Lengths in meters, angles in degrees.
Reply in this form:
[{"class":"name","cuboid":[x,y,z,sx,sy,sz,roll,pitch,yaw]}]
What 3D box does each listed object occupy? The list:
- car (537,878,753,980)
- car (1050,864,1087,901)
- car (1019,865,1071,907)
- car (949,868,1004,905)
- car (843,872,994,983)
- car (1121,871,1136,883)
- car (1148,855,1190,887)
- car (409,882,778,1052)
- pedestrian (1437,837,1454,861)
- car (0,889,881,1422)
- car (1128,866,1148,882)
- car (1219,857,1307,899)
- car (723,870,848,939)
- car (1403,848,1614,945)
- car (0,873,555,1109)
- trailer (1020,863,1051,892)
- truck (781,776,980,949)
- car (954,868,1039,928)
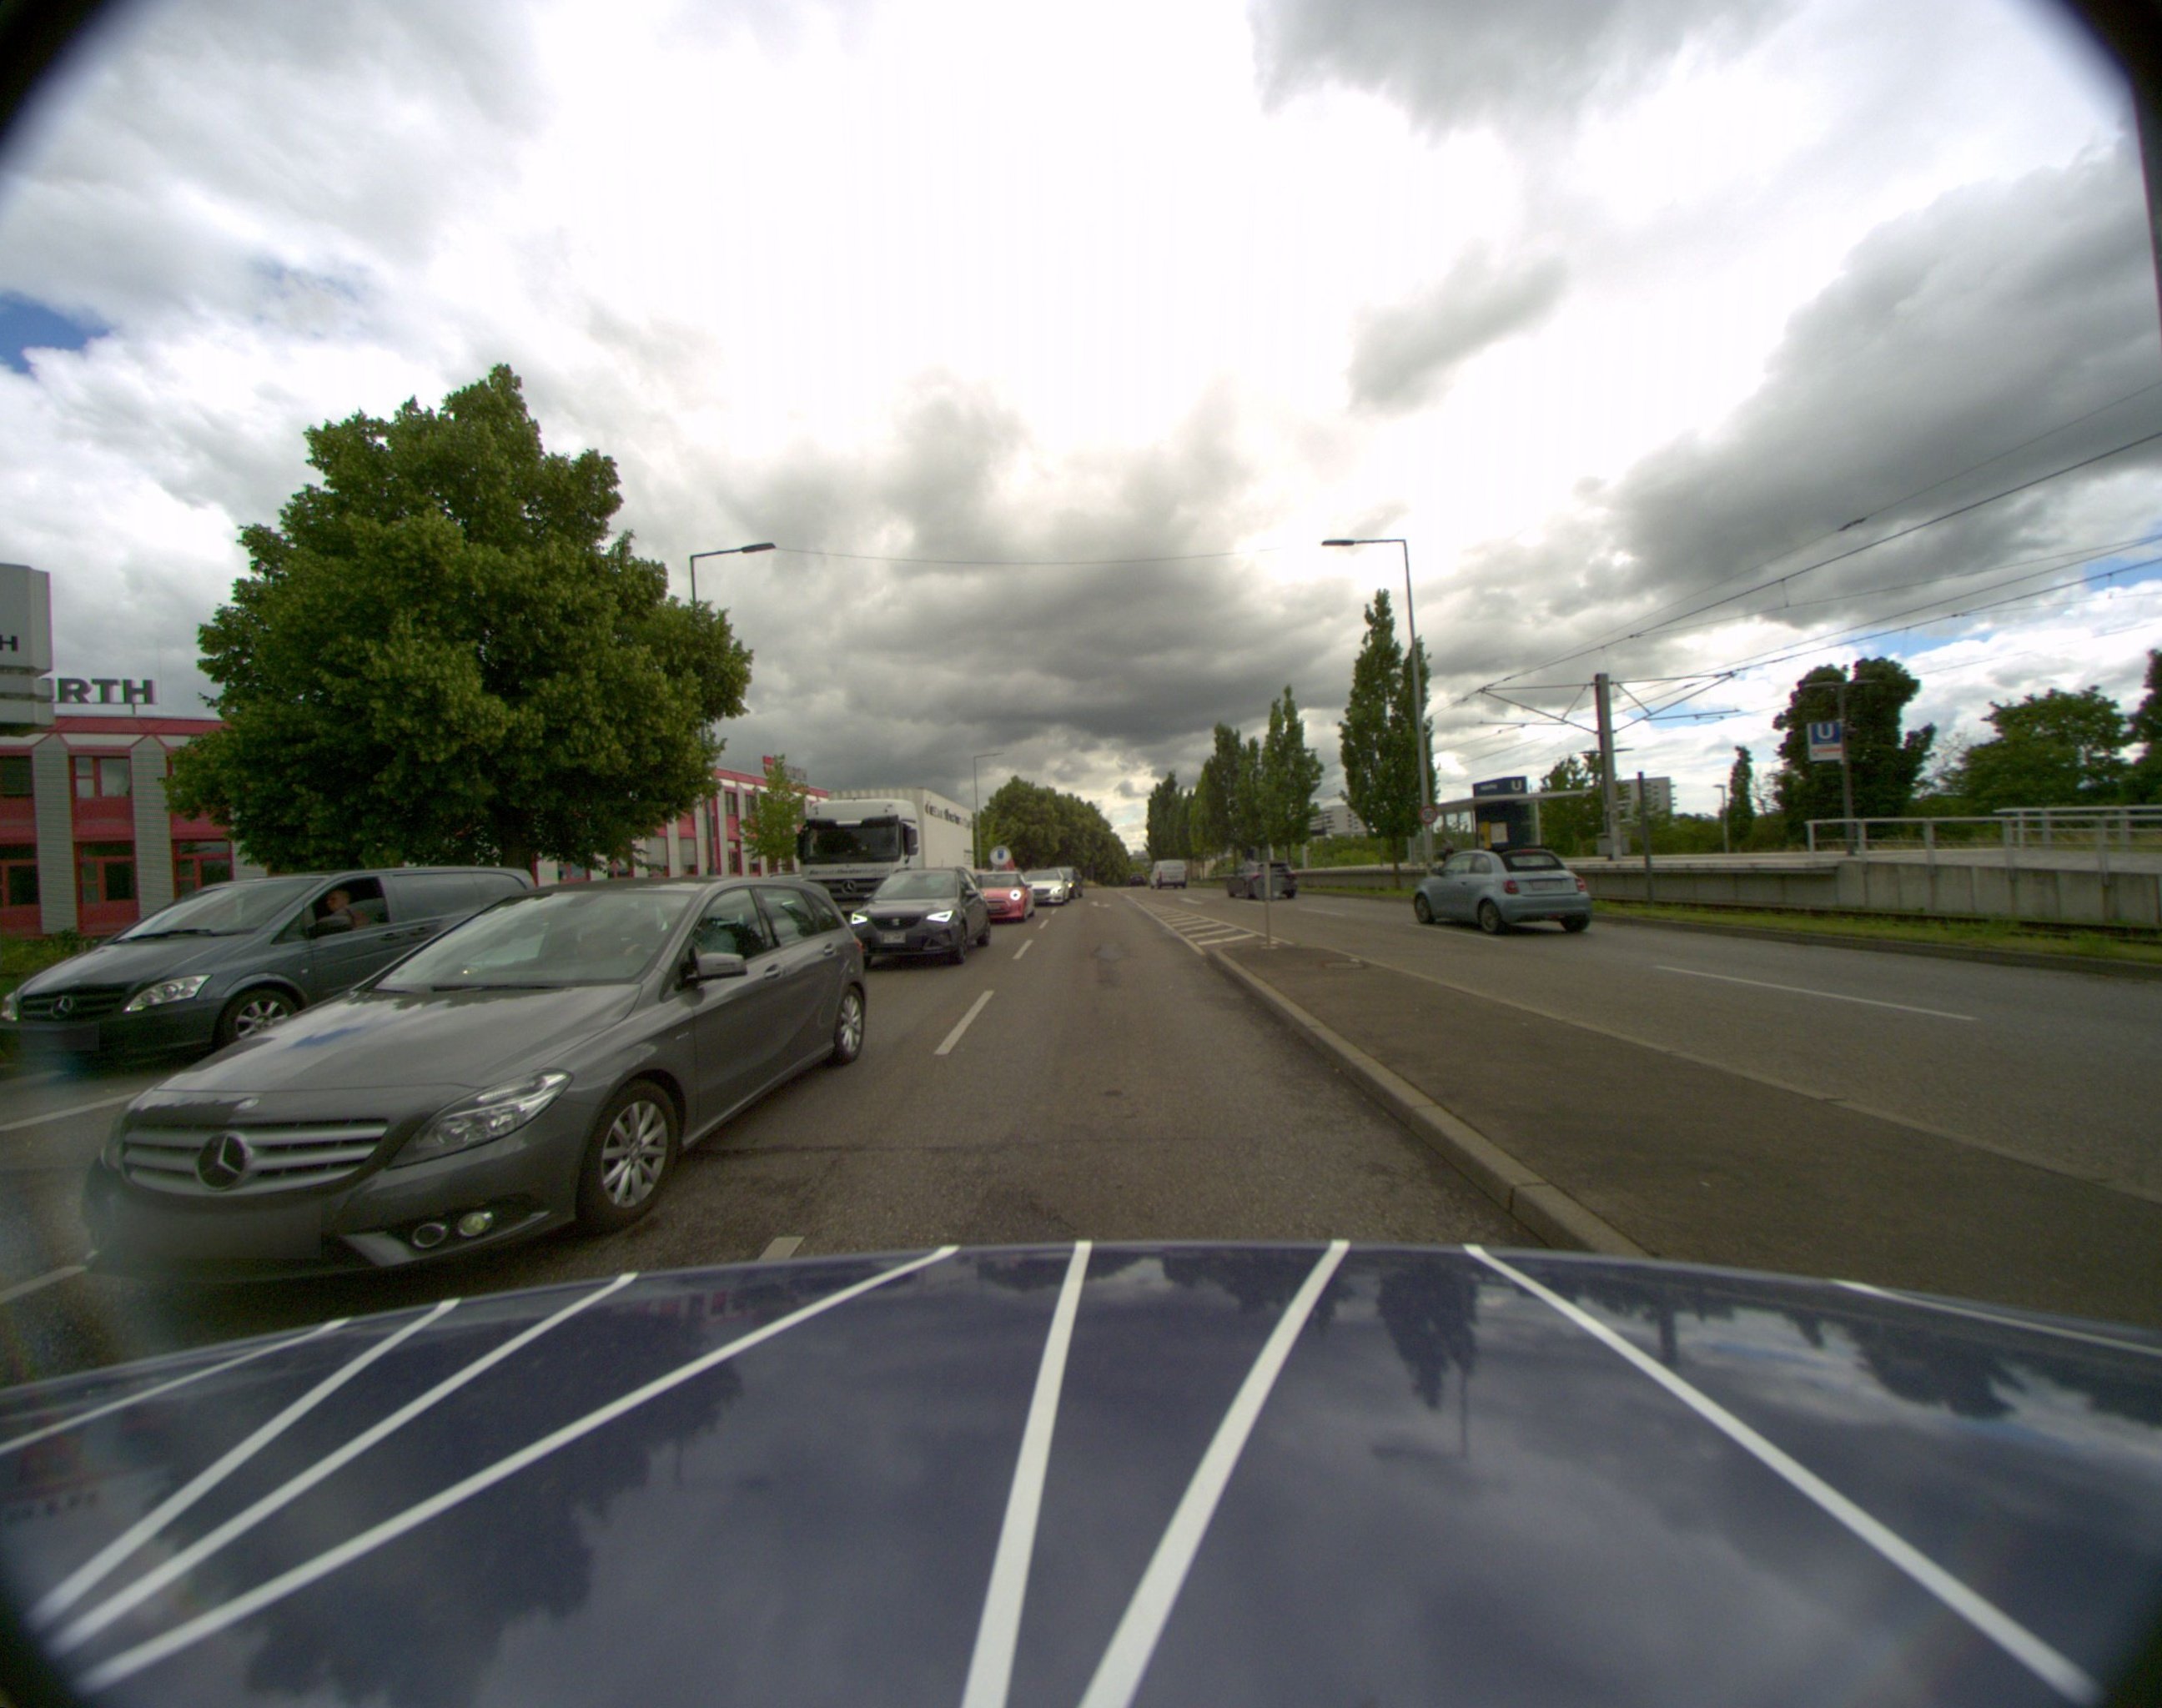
[{"class":"car","cuboid":[-8.592,1.390,15.481,1.844,1.507,4.106,-6,0,1]},{"class":"car","cuboid":[-0.586,1.358,37.338,1.669,1.589,3.996,-2,1,0]},{"class":"car","cuboid":[-1.379,1.243,30.717,1.804,1.403,4.316,-2,1,0]},{"class":"car","cuboid":[-4.734,1.441,35.040,1.851,1.521,4.377,-2,-1,0]},{"class":"car","cuboid":[-2.562,1.108,12.876,1.628,1.484,3.838,-2,-1,1]},{"class":"car","cuboid":[6.323,3.011,101.404,1.699,1.440,3.936,-2,-1,6]},{"class":"car","cuboid":[5.928,1.081,51.801,1.920,1.953,5.371,-2,1,-3]},{"class":"car","cuboid":[-5.587,1.184,9.520,1.750,1.375,4.290,-2,1,1]},{"class":"pedestrian","cuboid":[17.653,-0.248,36.796,0.601,1.148,0.447,-2,1,1]},{"class":"car","cuboid":[-2.757,1.055,4.429,1.750,1.499,4.050,-2,-1,5]},{"class":"car","cuboid":[5.934,2.058,79.362,1.700,1.440,3.660,-2,0,0]},{"class":"car","cuboid":[6.964,0.869,29.543,1.876,1.416,4.429,-2,1,-6]},{"class":"car","cuboid":[-8.444,1.381,22.154,1.865,1.648,4.209,-4,-1,1]},{"class":"car","cuboid":[7.815,0.680,14.319,1.761,1.519,3.599,-2,1,-4]},{"class":"car","cuboid":[-8.762,1.250,8.825,1.763,1.764,4.675,-6,0,2]},{"class":"trailer","cuboid":[-3.070,1.563,52.094,1.775,1.650,3.995,-2,2,1]},{"class":"truck","cuboid":[-5.303,0.216,22.624,2.809,3.880,10.182,-2,0,2]},{"class":"car","cuboid":[-2.297,1.166,21.491,1.825,1.497,3.495,-2,-1,2]}]
